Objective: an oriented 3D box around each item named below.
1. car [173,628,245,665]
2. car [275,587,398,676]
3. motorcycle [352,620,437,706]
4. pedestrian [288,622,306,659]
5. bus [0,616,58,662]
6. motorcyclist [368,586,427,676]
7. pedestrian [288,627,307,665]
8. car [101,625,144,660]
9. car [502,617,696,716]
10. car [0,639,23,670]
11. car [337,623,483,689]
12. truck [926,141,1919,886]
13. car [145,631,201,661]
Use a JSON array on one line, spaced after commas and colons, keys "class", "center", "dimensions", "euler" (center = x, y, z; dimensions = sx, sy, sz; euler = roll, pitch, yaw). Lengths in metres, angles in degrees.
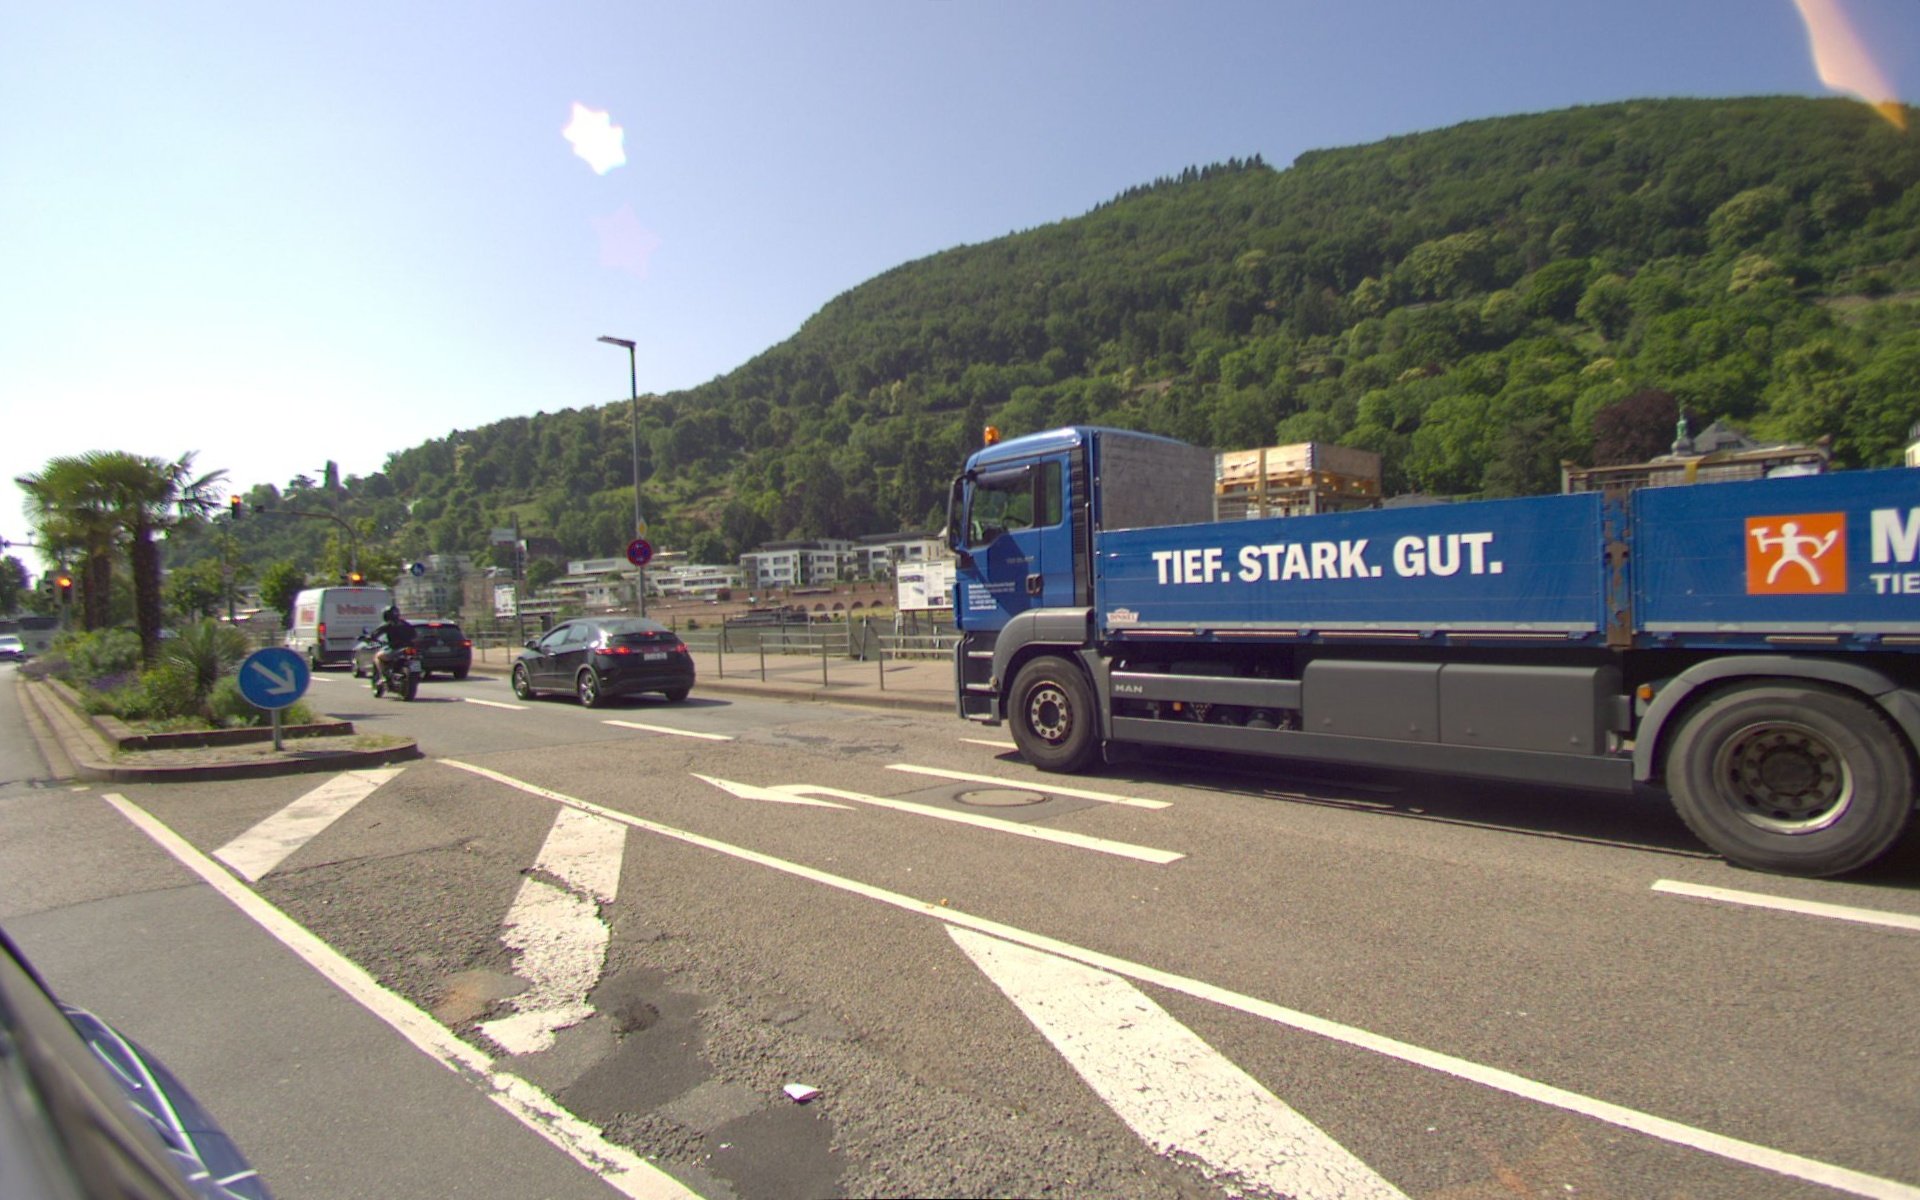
[{"class": "car", "center": [-33.538, 2.062, 45.140], "dimensions": [1.971, 1.463, 4.264], "euler": [-3, 1, -45]}, {"class": "car", "center": [-19.421, 0.977, 31.425], "dimensions": [2.169, 2.545, 4.751], "euler": [2, -3, -45]}, {"class": "motorcycle", "center": [-10.014, 1.080, 17.871], "dimensions": [0.717, 1.397, 2.514], "euler": [-1, -1, -43]}, {"class": "pedestrian", "center": [-31.823, 1.939, 48.575], "dimensions": [0.503, 1.765, 0.585], "euler": [-3, -1, 43]}, {"class": "bus", "center": [-75.672, 3.160, 81.395], "dimensions": [10.777, 3.413, 2.624], "euler": [-2, -1, 37]}, {"class": "motorcyclist", "center": [-9.920, 0.536, 17.848], "dimensions": [0.693, 1.538, 0.862], "euler": [-1, -1, -43]}, {"class": "pedestrian", "center": [-31.714, 2.189, 48.451], "dimensions": [0.781, 1.765, 0.585], "euler": [-3, -1, 43]}, {"class": "car", "center": [-54.320, 2.730, 65.625], "dimensions": [1.843, 2.166, 5.027], "euler": [-2, 0, -43]}, {"class": "car", "center": [-6.288, 1.055, 17.364], "dimensions": [1.637, 1.447, 4.085], "euler": [-1, 0, -43]}, {"class": "car", "center": [-49.389, 2.823, 51.881], "dimensions": [1.970, 1.517, 4.596], "euler": [-1, -2, -43]}, {"class": "car", "center": [-13.917, 1.348, 25.462], "dimensions": [1.970, 1.429, 4.924], "euler": [-1, -1, -44]}, {"class": "truck", "center": [4.478, -0.387, 6.696], "dimensions": [2.611, 3.502, 11.116], "euler": [-1, -1, -44]}, {"class": "car", "center": [-42.542, 2.441, 54.657], "dimensions": [1.970, 1.469, 4.648], "euler": [-1, -1, -43]}]
